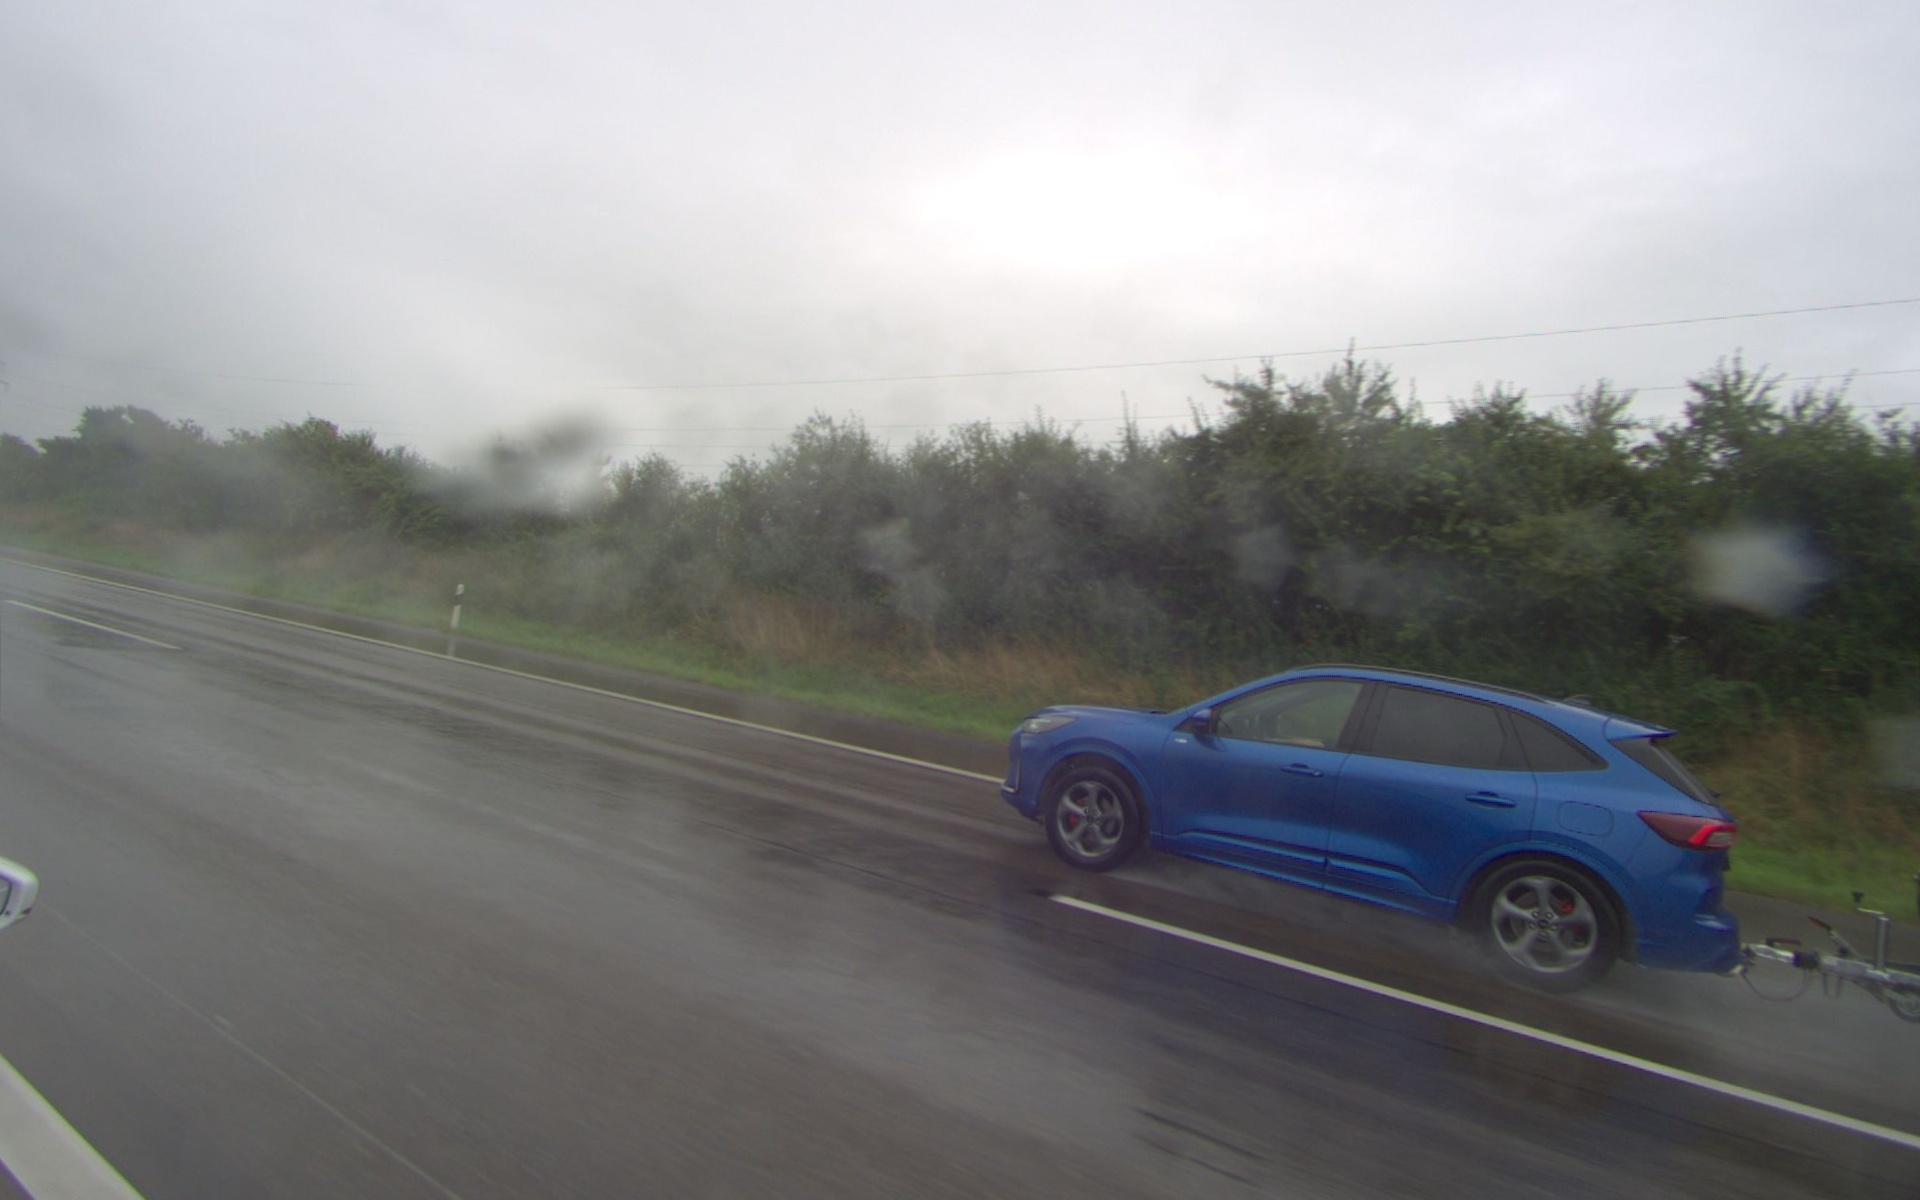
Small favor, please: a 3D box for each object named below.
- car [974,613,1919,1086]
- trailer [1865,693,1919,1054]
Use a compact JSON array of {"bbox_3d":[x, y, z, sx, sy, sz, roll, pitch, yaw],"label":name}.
[{"bbox_3d":[2.764,1.221,6.659,4.912,1.638,1.996,6,-2,34],"label":"car"},{"bbox_3d":[6.272,1.501,4.308,3.137,1.805,1.982,6,-2,34],"label":"trailer"}]
